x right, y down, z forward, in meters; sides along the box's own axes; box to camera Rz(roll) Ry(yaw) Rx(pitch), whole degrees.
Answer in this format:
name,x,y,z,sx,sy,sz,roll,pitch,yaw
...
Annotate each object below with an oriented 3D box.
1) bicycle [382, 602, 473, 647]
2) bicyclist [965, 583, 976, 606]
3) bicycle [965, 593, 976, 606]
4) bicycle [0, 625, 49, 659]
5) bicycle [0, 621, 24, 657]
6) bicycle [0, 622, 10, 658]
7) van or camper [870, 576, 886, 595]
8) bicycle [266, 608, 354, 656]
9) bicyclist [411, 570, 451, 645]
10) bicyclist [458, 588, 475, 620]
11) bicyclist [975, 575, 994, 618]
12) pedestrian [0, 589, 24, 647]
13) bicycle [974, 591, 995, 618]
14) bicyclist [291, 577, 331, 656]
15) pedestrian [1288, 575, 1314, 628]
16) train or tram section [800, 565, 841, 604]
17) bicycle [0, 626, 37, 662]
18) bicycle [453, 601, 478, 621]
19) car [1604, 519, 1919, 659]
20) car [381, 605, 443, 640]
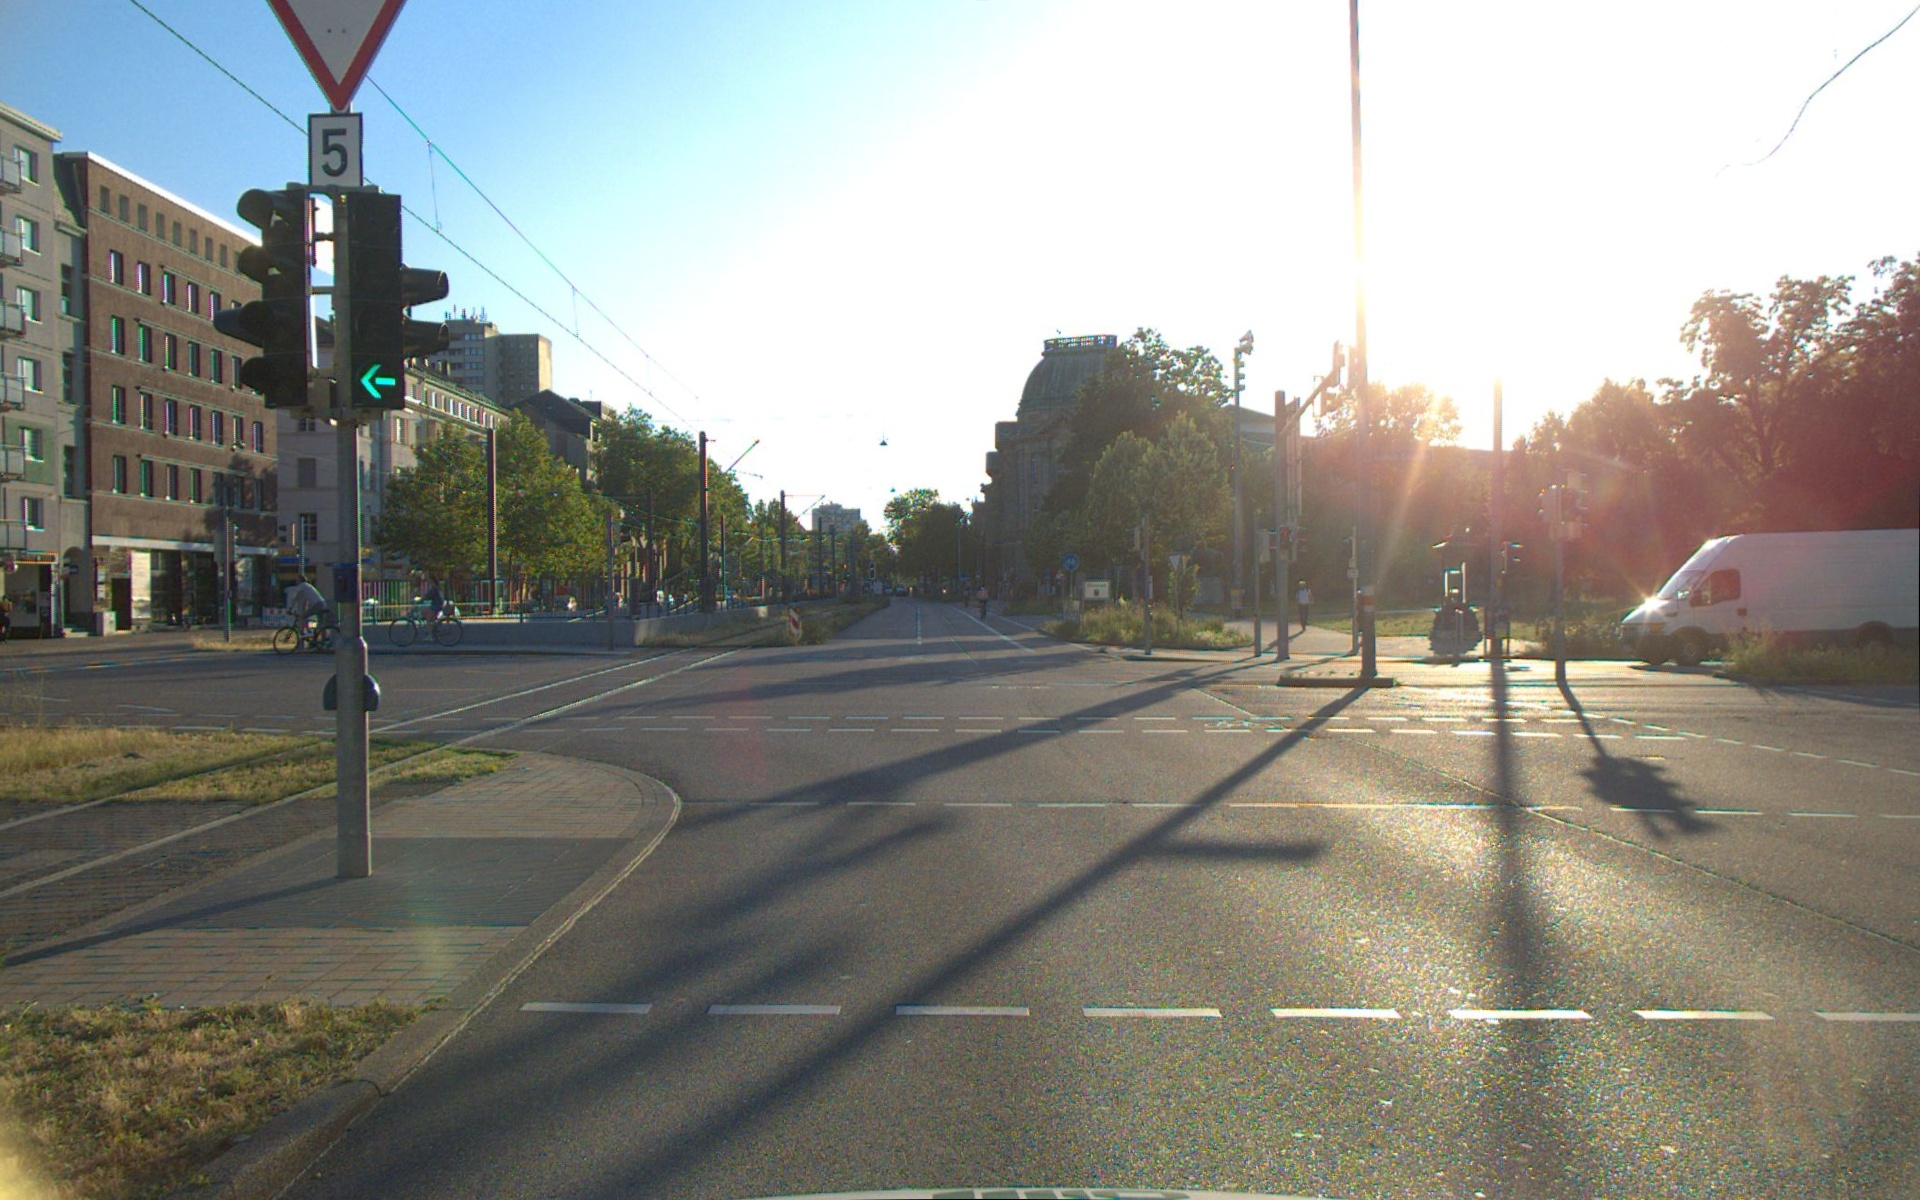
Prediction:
name,x,y,z,sx,sy,sz,roll,pitch,yaw
bicycle,-13.417,0.616,41.730,2.124,1.102,0.537,0,-1,-10
bicyclist,0.927,-0.472,148.441,0.907,2.049,0.850,0,0,-1
bicycle,0.935,-0.038,148.445,0.905,1.131,2.332,-1,0,-1
bicycle,-32.840,1.470,57.736,1.655,1.164,0.697,-1,0,1
bicycle,-32.868,1.339,56.228,1.655,1.199,0.748,-1,0,1
bicycle,-32.895,1.347,55.465,1.655,1.173,0.705,-1,0,1
van or camper,-12.708,-2.225,256.729,2.400,2.819,5.598,-1,0,-3
bicycle,-15.448,0.749,39.343,1.869,1.094,0.630,-1,0,-15
bicyclist,-13.344,0.184,41.750,0.860,1.850,0.537,-1,0,-10
bicyclist,-31.860,0.241,106.865,0.780,2.049,0.924,-1,0,1
bicyclist,1.353,-0.198,91.570,1.060,2.316,0.986,0,0,-1
pedestrian,-36.791,0.692,64.039,0.589,2.216,0.792,-1,0,-1
bicycle,1.361,0.241,91.593,1.075,1.423,2.831,-1,0,-1
bicyclist,-15.440,0.375,39.337,0.779,1.850,0.644,-1,0,-15
pedestrian,11.943,0.063,57.928,0.815,1.835,0.811,-1,0,14
train or tram section,-15.377,-1.793,182.097,4.301,3.916,11.401,-1,2,-5
bicycle,-32.869,1.516,57.004,1.655,1.190,0.748,-1,0,1
bicycle,-31.878,0.682,106.624,0.796,1.222,2.413,-1,0,2
car,17.774,-0.239,35.783,6.866,2.877,2.093,-1,0,1
car,-28.051,1.133,84.801,1.654,1.646,4.002,-2,0,3
